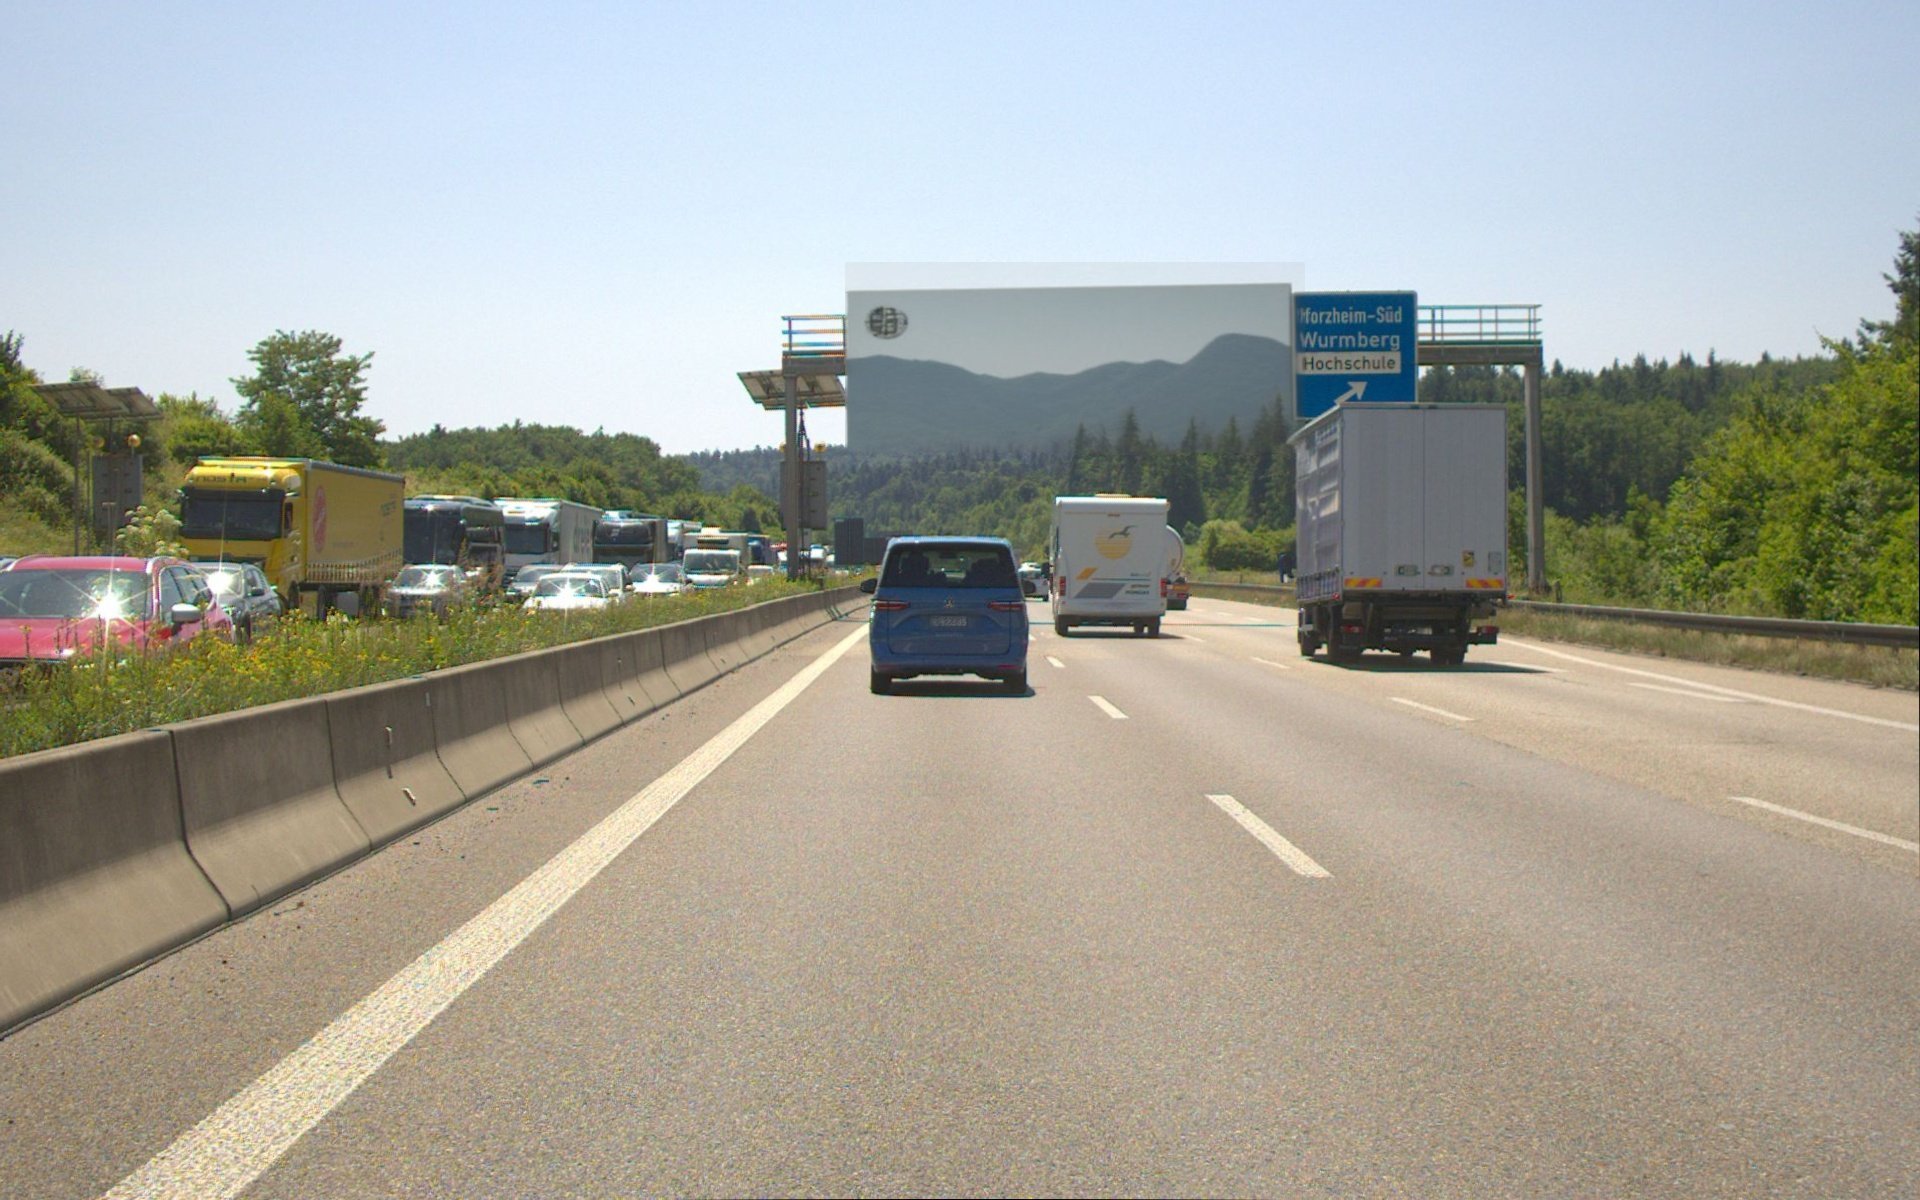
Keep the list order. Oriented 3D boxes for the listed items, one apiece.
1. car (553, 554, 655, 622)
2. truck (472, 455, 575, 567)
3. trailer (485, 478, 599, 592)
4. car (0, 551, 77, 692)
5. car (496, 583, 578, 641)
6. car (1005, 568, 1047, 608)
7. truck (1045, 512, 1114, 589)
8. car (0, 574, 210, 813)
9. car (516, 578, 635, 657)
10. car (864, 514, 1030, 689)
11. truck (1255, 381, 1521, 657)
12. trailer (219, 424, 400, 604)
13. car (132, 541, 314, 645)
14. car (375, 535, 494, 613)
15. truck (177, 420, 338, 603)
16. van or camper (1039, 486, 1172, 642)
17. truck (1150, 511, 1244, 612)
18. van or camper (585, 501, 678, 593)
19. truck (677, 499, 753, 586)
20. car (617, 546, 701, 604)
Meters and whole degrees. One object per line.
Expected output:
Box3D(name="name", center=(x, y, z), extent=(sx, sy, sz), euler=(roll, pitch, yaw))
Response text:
Box3D(name="car", center=(-8.212, -0.286, 79.720), extent=(1.811, 1.508, 5.030), euler=(1, 0, 0))
Box3D(name="truck", center=(-16.460, -3.305, 130.194), extent=(2.781, 4.100, 7.029), euler=(0, 0, 2))
Box3D(name="trailer", center=(-16.356, -2.480, 135.358), extent=(2.781, 4.290, 11.710), euler=(0, 0, 1))
Box3D(name="car", center=(-12.021, 0.233, 40.771), extent=(1.811, 1.623, 4.908), euler=(1, 0, 0))
Box3D(name="car", center=(-12.212, 0.325, 99.435), extent=(1.775, 1.607, 4.558), euler=(1, 0, 0))
Box3D(name="car", center=(3.001, -0.562, 156.193), extent=(1.818, 1.788, 3.894), euler=(1, 0, 0))
Box3D(name="truck", center=(6.603, -2.744, 191.619), extent=(3.487, 4.156, 8.642), euler=(1, 0, 0))
Box3D(name="car", center=(-7.514, 0.677, 28.051), extent=(1.827, 1.758, 4.991), euler=(1, 0, -2))
Box3D(name="car", center=(-7.647, 0.330, 68.714), extent=(1.811, 1.508, 4.818), euler=(1, 0, 0))
Box3D(name="car", center=(-0.171, -0.029, 42.125), extent=(1.909, 2.006, 4.000), euler=(-1, 2, -1))
Box3D(name="truck", center=(6.850, -1.243, 56.492), extent=(2.783, 4.114, 9.741), euler=(1, 0, -2))
Box3D(name="trailer", center=(-16.407, -2.036, 87.545), extent=(2.650, 4.130, 11.856), euler=(1, -1, -2))
Box3D(name="car", center=(-12.075, -0.126, 56.689), extent=(1.811, 1.623, 5.382), euler=(1, 0, 0))
Box3D(name="car", center=(-12.338, -0.606, 81.054), extent=(1.862, 1.746, 5.902), euler=(1, 0, 0))
Box3D(name="truck", center=(-16.227, -1.984, 79.752), extent=(2.602, 4.050, 6.133), euler=(1, 0, -2))
Box3D(name="van or camper", center=(3.156, -0.879, 76.285), extent=(2.603, 3.067, 7.183), euler=(1, 3, 0))
Box3D(name="truck", center=(8.756, -1.501, 127.810), extent=(2.928, 3.563, 8.526), euler=(-1, 1, 1))
Box3D(name="van or camper", center=(-12.358, -1.957, 129.964), extent=(2.529, 3.348, 7.943), euler=(1, 0, 1))
Box3D(name="truck", center=(-8.300, -1.924, 116.941), extent=(2.120, 2.832, 6.212), euler=(1, 0, 0))
Box3D(name="car", center=(-8.196, -0.678, 93.875), extent=(1.811, 1.508, 5.030), euler=(1, 0, 0))
